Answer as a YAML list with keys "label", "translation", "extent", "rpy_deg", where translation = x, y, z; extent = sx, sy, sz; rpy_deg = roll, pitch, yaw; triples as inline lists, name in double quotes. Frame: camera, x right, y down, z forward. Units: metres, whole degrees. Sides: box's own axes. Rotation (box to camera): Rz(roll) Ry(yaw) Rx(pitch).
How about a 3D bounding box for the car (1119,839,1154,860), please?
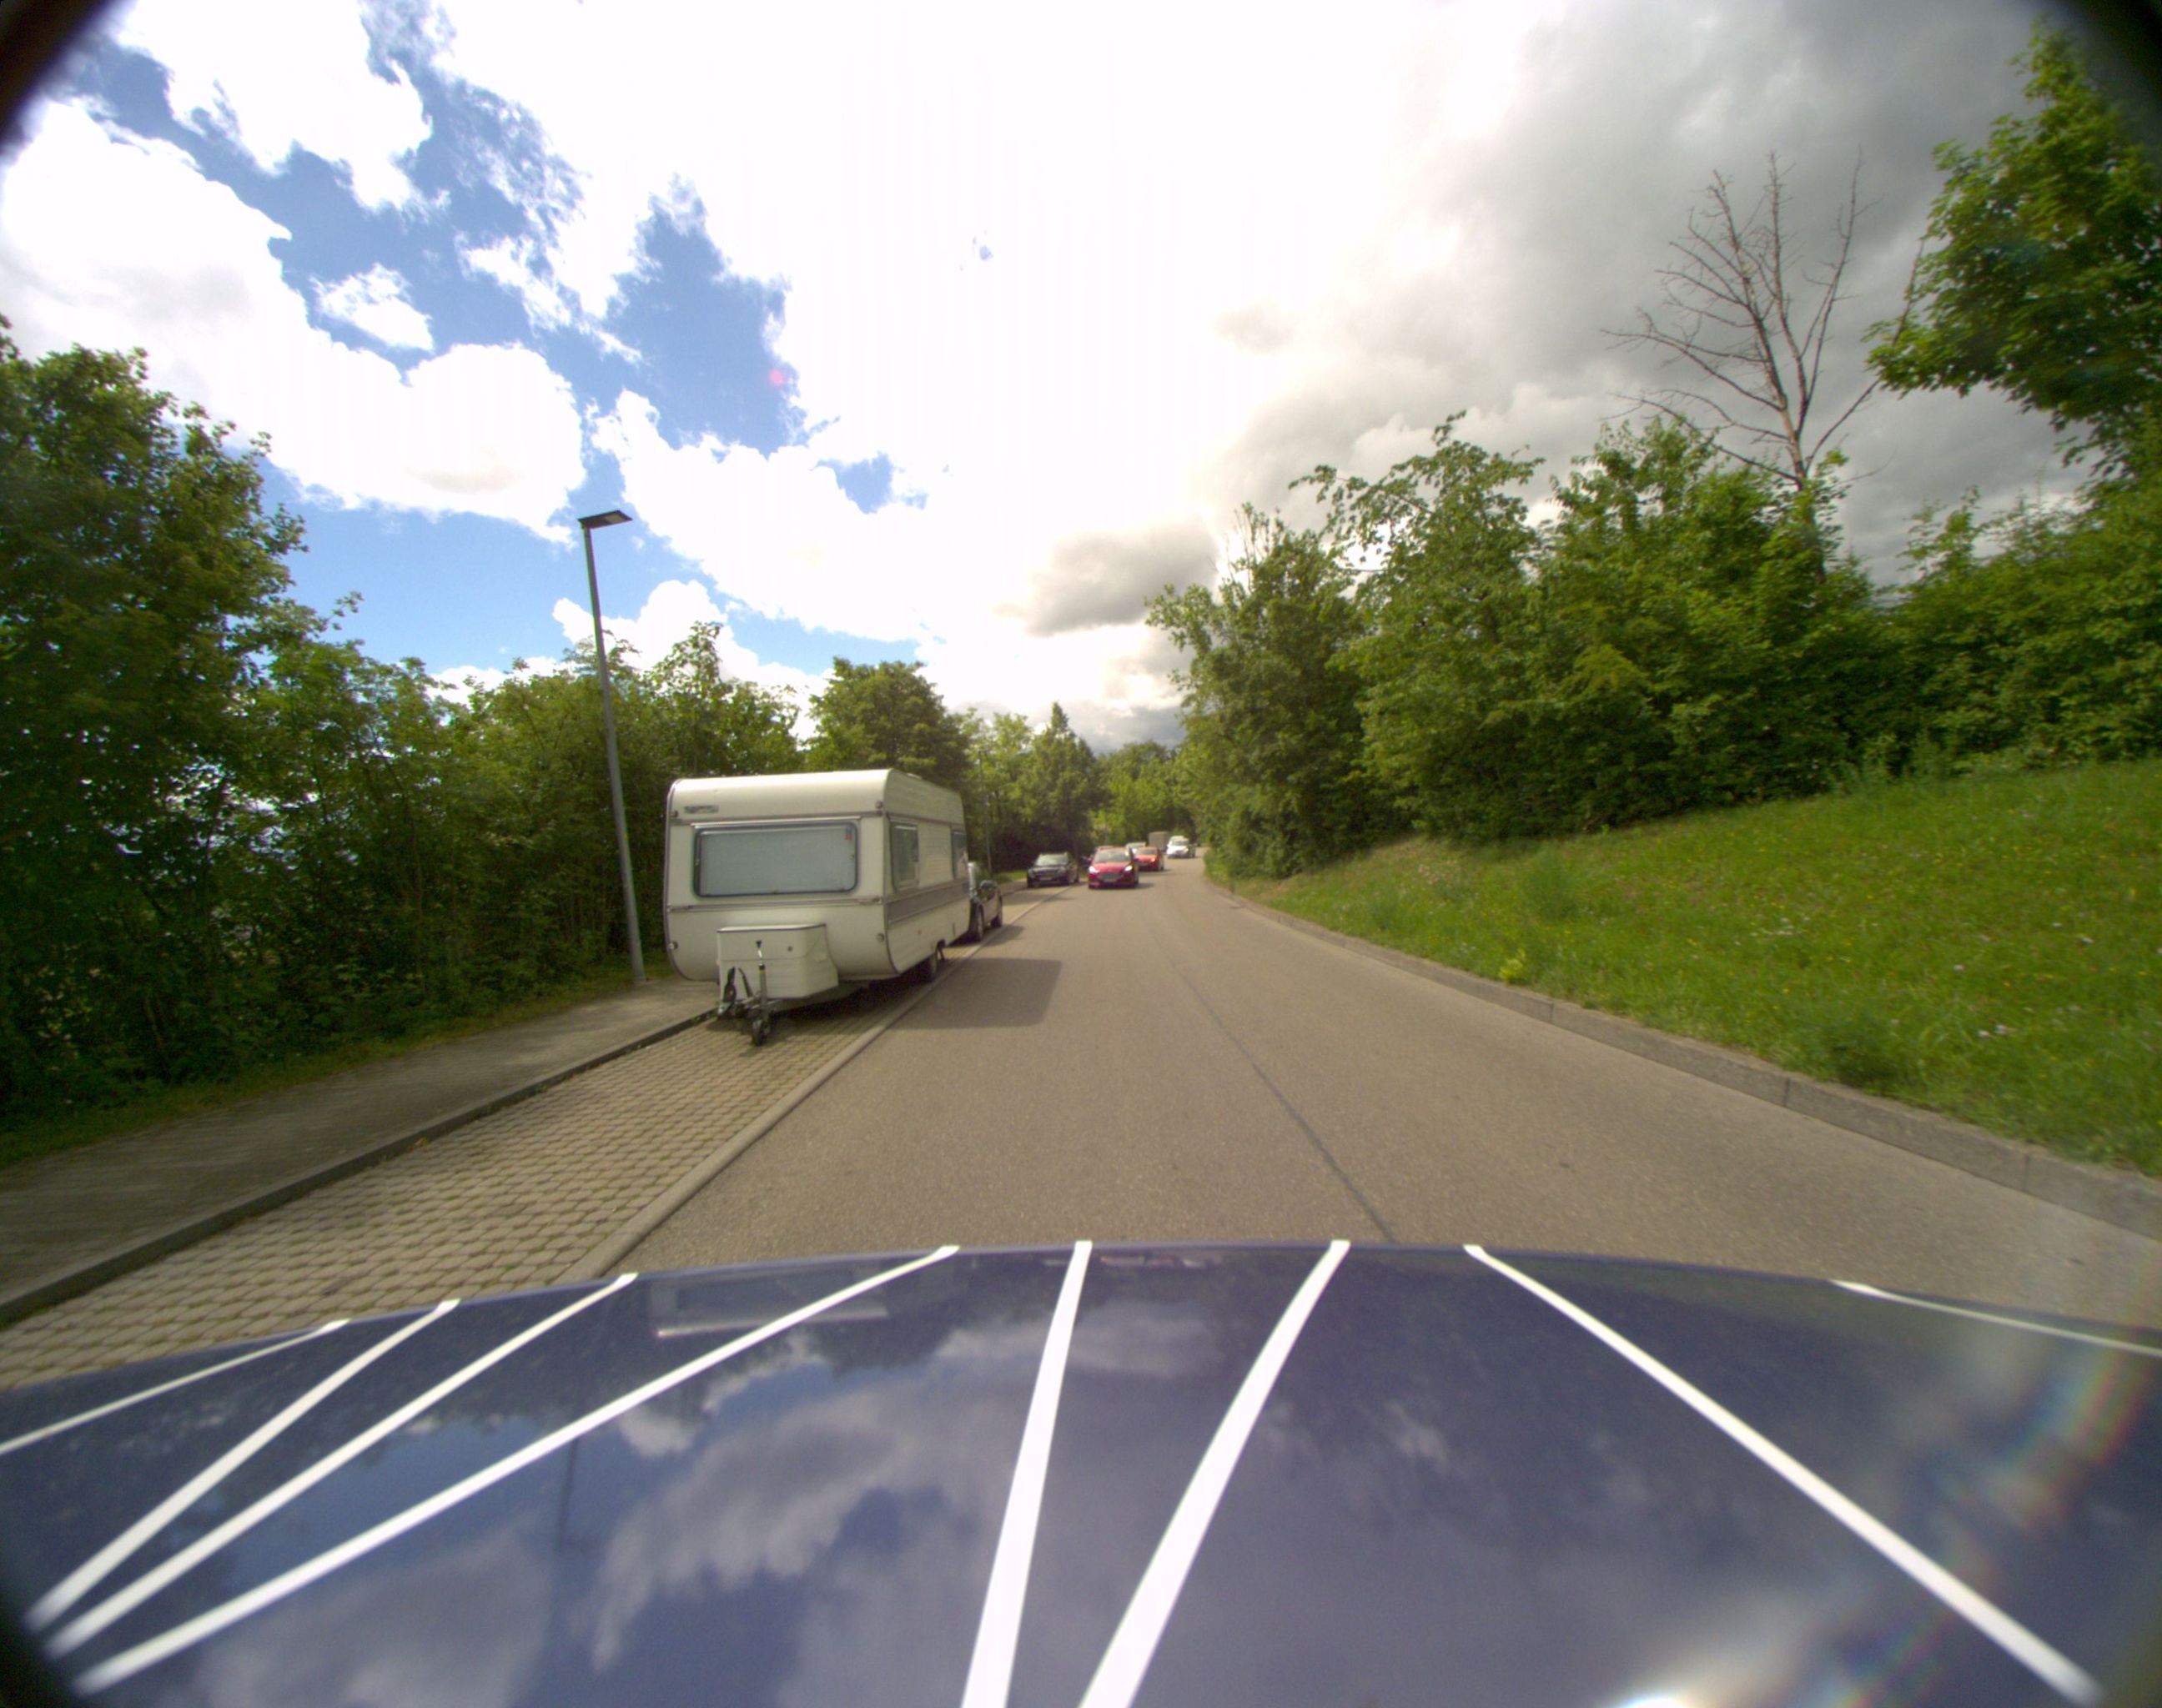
- label: "car"
  translation: [4.567, -0.410, 61.467]
  extent: [1.865, 1.469, 4.906]
  rpy_deg: [-1, 2, 15]

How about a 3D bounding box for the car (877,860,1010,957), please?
- label: "car"
  translation: [-2.552, 0.950, 15.189]
  extent: [1.686, 1.442, 4.479]
  rpy_deg: [-4, 1, 1]

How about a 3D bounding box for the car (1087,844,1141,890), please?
- label: "car"
  translation: [1.452, 0.489, 31.521]
  extent: [1.911, 1.689, 4.388]
  rpy_deg: [-1, 2, 7]

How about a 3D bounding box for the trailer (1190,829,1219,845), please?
- label: "trailer"
  translation: [13.637, -1.895, 83.997]
  extent: [1.811, 1.570, 4.495]
  rpy_deg: [-1, 4, 27]

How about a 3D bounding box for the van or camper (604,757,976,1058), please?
- label: "van or camper"
  translation: [-2.885, 0.439, 9.172]
  extent: [2.360, 2.539, 5.074]
  rpy_deg: [-2, 1, 1]

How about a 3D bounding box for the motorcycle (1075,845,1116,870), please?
- label: "motorcycle"
  translation: [0.869, 0.215, 46.453]
  extent: [2.306, 1.468, 0.977]
  rpy_deg: [0, 3, 37]

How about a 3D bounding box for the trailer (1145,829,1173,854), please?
- label: "trailer"
  translation: [7.185, -1.140, 69.765]
  extent: [1.732, 2.067, 3.786]
  rpy_deg: [-1, 3, 19]

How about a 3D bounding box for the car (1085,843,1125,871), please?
- label: "car"
  translation: [1.624, 0.175, 50.139]
  extent: [1.772, 1.509, 4.110]
  rpy_deg: [-3, 2, 14]

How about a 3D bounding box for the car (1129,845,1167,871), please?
- label: "car"
  translation: [4.135, 0.209, 46.141]
  extent: [1.794, 1.405, 4.115]
  rpy_deg: [0, 2, 12]

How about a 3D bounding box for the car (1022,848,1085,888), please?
- label: "car"
  translation: [-1.156, 0.578, 33.982]
  extent: [1.896, 1.521, 4.548]
  rpy_deg: [-3, 0, 9]

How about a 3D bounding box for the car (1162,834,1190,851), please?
- label: "car"
  translation: [9.374, -1.117, 75.020]
  extent: [1.707, 1.469, 3.787]
  rpy_deg: [-1, 3, 23]

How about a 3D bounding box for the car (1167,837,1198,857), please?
- label: "car"
  translation: [8.548, -0.628, 63.828]
  extent: [1.793, 1.500, 4.117]
  rpy_deg: [-2, 2, 19]
